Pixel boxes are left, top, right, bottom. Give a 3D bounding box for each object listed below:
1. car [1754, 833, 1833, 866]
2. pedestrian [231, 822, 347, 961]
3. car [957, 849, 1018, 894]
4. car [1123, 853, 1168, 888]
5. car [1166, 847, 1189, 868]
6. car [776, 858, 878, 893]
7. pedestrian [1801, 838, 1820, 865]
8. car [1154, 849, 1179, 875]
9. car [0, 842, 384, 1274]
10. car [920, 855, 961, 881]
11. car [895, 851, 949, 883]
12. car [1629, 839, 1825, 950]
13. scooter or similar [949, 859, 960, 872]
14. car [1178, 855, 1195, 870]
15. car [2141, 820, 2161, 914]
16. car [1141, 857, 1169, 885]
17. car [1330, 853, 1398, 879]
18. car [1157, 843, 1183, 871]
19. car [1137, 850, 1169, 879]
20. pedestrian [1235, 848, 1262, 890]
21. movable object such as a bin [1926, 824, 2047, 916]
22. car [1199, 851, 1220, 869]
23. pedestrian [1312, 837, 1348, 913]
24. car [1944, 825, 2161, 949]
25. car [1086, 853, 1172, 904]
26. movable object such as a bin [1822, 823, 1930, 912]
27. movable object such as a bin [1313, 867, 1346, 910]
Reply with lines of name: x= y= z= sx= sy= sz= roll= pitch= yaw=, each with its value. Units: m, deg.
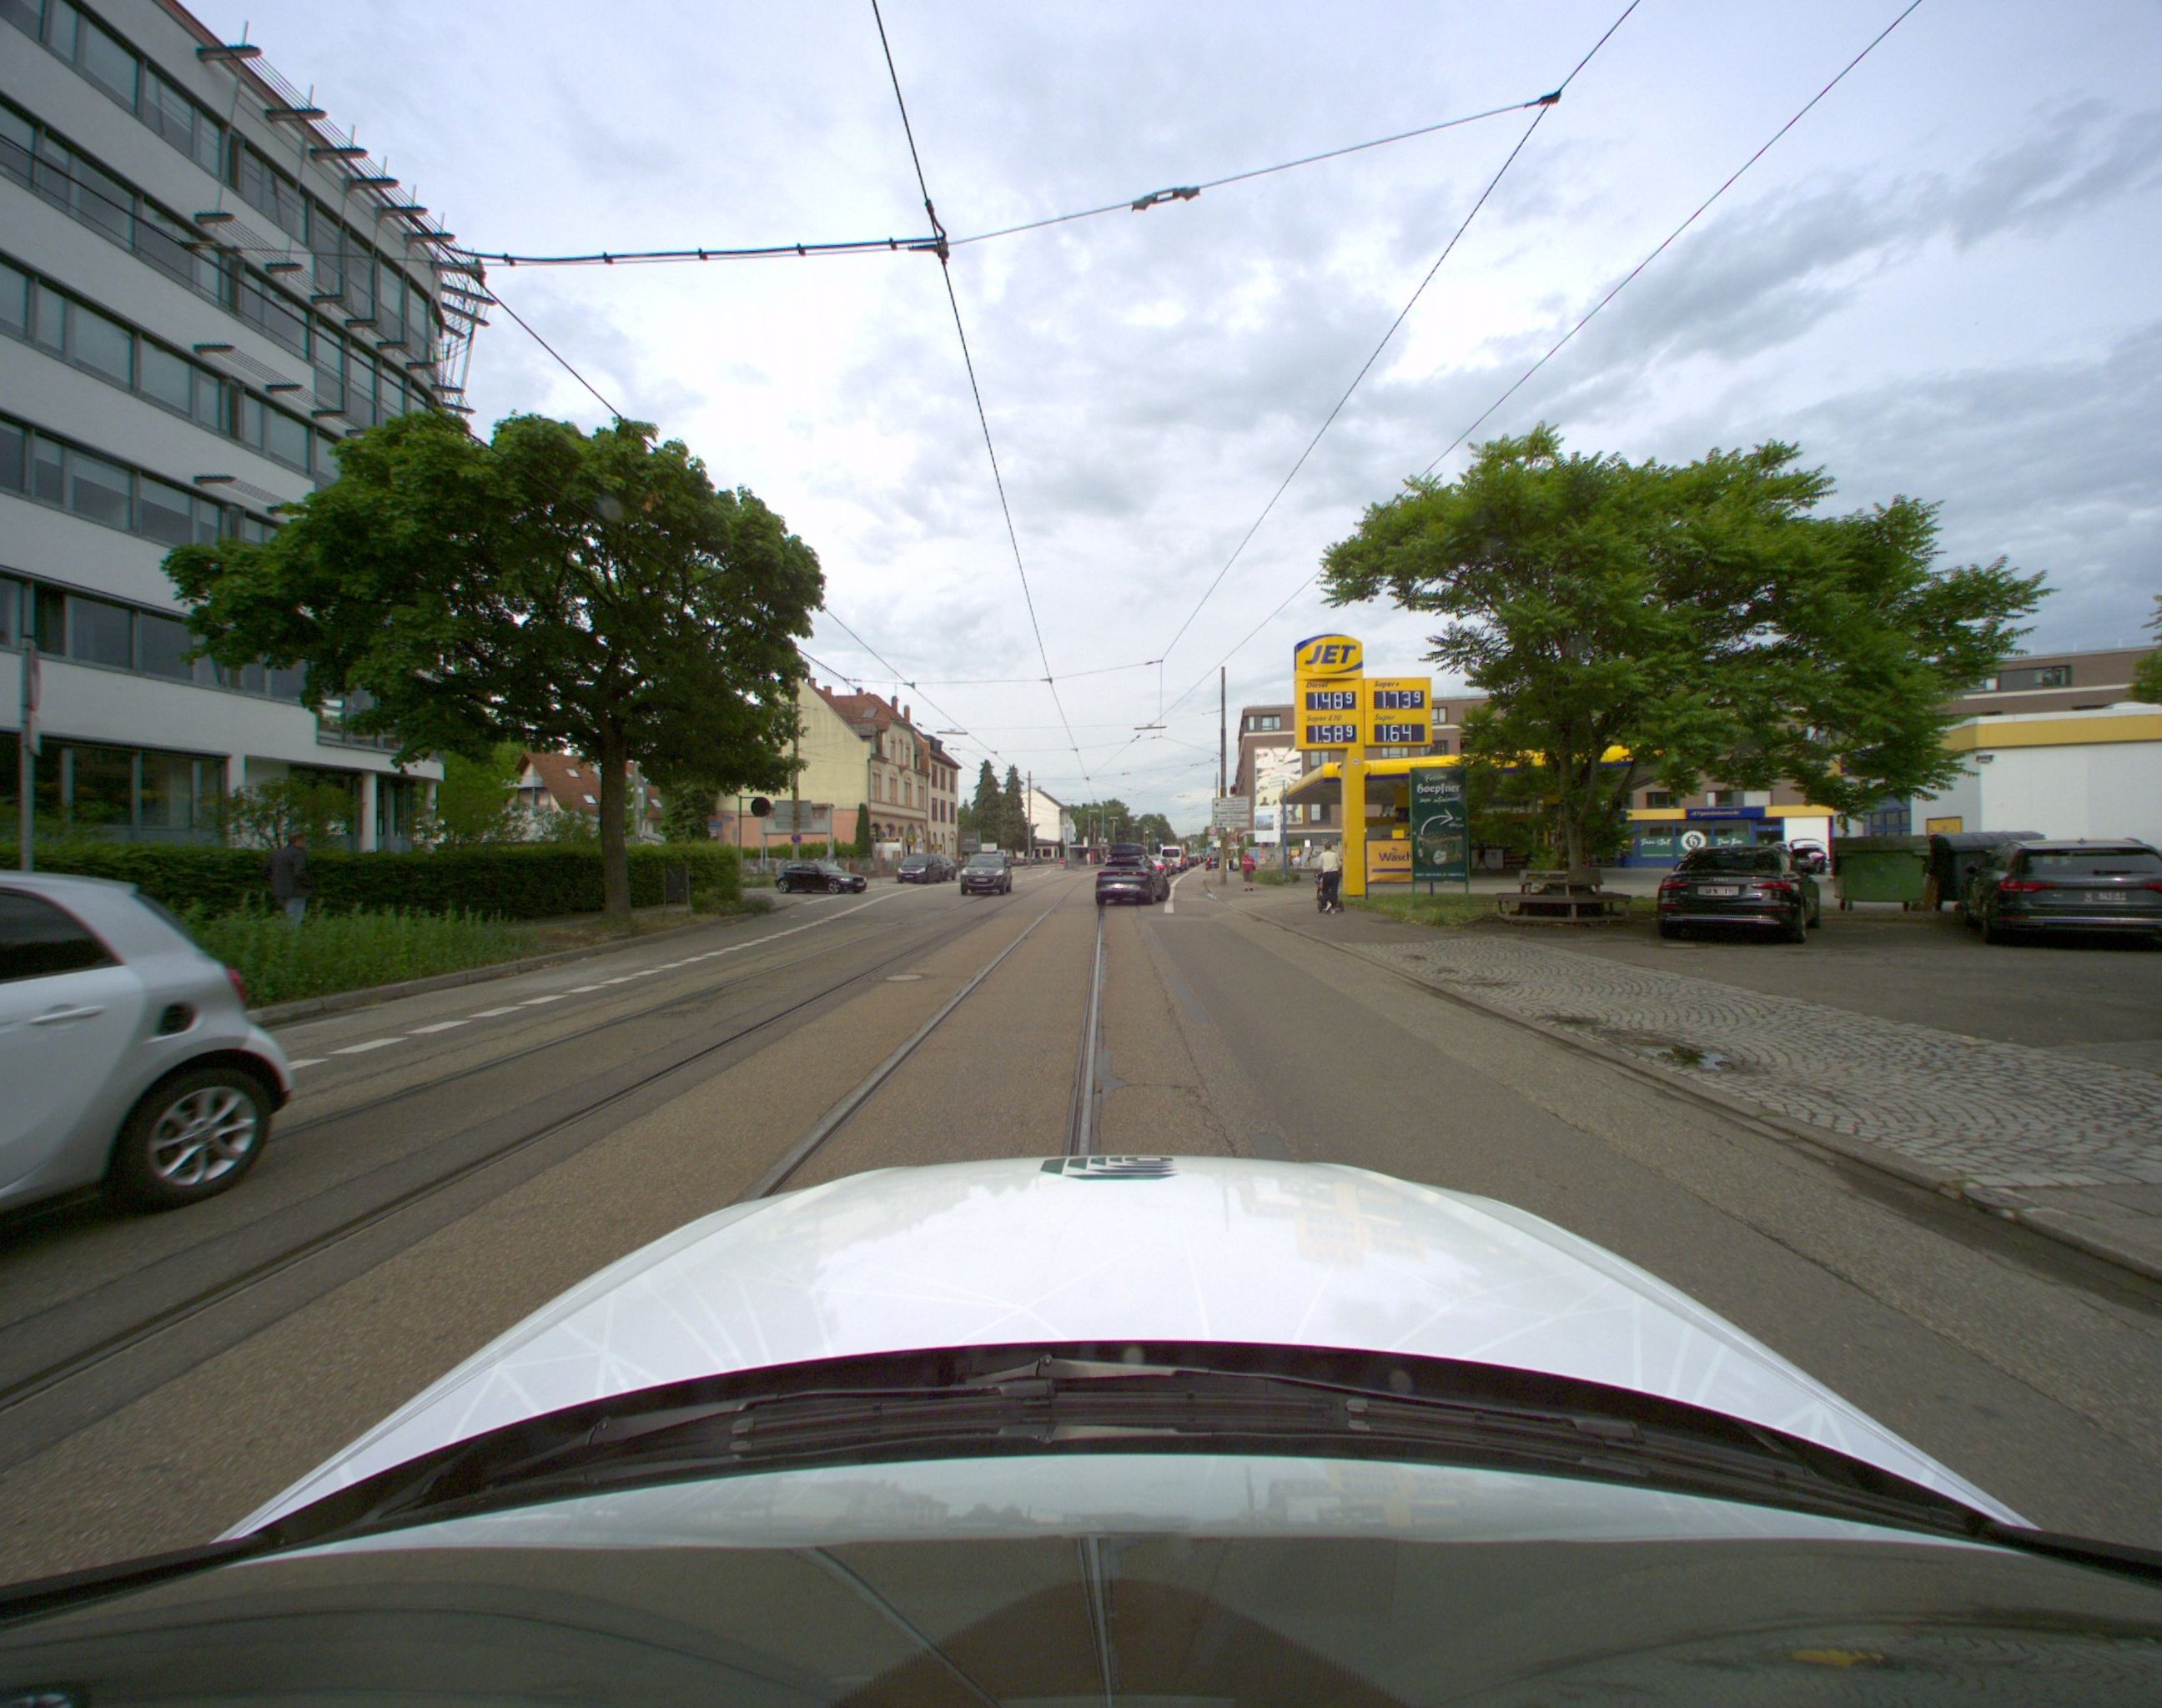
car: x=37.835 y=-0.214 z=43.388 sx=1.818 sy=1.638 sz=4.502 roll=0 pitch=-1 yaw=22
pedestrian: x=-12.030 y=0.550 z=12.404 sx=0.706 sy=2.014 sz=0.993 roll=1 pitch=-1 yaw=8
car: x=-3.818 y=0.698 z=33.827 sx=1.820 sy=1.737 sz=4.337 roll=-1 pitch=-1 yaw=2
car: x=3.025 y=0.764 z=38.919 sx=1.974 sy=1.550 sz=4.185 roll=1 pitch=0 yaw=2
car: x=9.902 y=0.366 z=83.763 sx=2.129 sy=2.146 sz=4.750 roll=1 pitch=-1 yaw=5
car: x=-10.909 y=0.903 z=34.944 sx=3.885 sy=1.388 sz=1.812 roll=-1 pitch=0 yaw=22
pedestrian: x=36.716 y=-0.121 z=40.975 sx=0.573 sy=1.347 sz=0.615 roll=0 pitch=-1 yaw=26
car: x=6.976 y=0.645 z=66.728 sx=1.984 sy=2.014 sz=4.006 roll=1 pitch=-1 yaw=5
car: x=-4.694 y=0.740 z=2.577 sx=1.698 sy=1.530 sz=3.742 roll=-2 pitch=-1 yaw=1
car: x=-9.906 y=0.985 z=57.714 sx=1.836 sy=1.718 sz=4.197 roll=1 pitch=-1 yaw=4
car: x=-10.004 y=0.823 z=51.690 sx=1.982 sy=1.887 sz=5.004 roll=1 pitch=-1 yaw=5
car: x=10.535 y=0.525 z=13.142 sx=4.611 sy=1.407 sz=1.911 roll=-2 pitch=0 yaw=-45
scooter or similar: x=-12.098 y=1.094 z=77.930 sx=1.055 sy=1.188 sz=0.315 roll=1 pitch=-1 yaw=-30
car: x=14.478 y=1.152 z=112.250 sx=1.986 sy=2.014 sz=4.001 roll=1 pitch=-1 yaw=2
car: x=16.576 y=0.241 z=10.923 sx=1.960 sy=1.459 sz=4.520 roll=-1 pitch=1 yaw=41
car: x=5.433 y=1.245 z=59.930 sx=1.984 sy=2.014 sz=4.004 roll=1 pitch=-1 yaw=4
car: x=16.627 y=0.685 z=48.108 sx=1.944 sy=1.427 sz=4.876 roll=-1 pitch=0 yaw=-6
car: x=8.101 y=0.304 z=74.410 sx=2.206 sy=2.423 sz=4.957 roll=1 pitch=-1 yaw=4
car: x=4.618 y=0.688 z=52.873 sx=1.960 sy=1.756 sz=3.841 roll=1 pitch=-1 yaw=3
pedestrian: x=7.207 y=0.626 z=35.021 sx=0.967 sy=1.738 sz=0.862 roll=-3 pitch=-1 yaw=5
movable object such as a bin: x=15.835 y=0.240 z=14.305 sx=1.278 sy=1.490 sz=1.131 roll=1 pitch=3 yaw=42
car: x=12.978 y=0.609 z=82.412 sx=1.865 sy=1.823 sz=4.102 roll=1 pitch=-1 yaw=5
pedestrian: x=6.216 y=0.515 z=20.369 sx=0.762 sy=1.797 sz=1.167 roll=-3 pitch=-1 yaw=16
car: x=13.938 y=0.377 z=11.672 sx=1.854 sy=1.427 sz=4.569 roll=-5 pitch=-2 yaw=44
car: x=1.674 y=0.771 z=26.812 sx=1.975 sy=1.497 sz=4.343 roll=0 pitch=-1 yaw=15
movable object such as a bin: x=14.866 y=0.222 z=15.282 sx=1.404 sy=1.514 sz=1.131 roll=0 pitch=4 yaw=43
movable object such as a bin: x=6.470 y=0.895 z=21.249 sx=0.762 sy=1.039 sz=1.028 roll=-3 pitch=-1 yaw=16
